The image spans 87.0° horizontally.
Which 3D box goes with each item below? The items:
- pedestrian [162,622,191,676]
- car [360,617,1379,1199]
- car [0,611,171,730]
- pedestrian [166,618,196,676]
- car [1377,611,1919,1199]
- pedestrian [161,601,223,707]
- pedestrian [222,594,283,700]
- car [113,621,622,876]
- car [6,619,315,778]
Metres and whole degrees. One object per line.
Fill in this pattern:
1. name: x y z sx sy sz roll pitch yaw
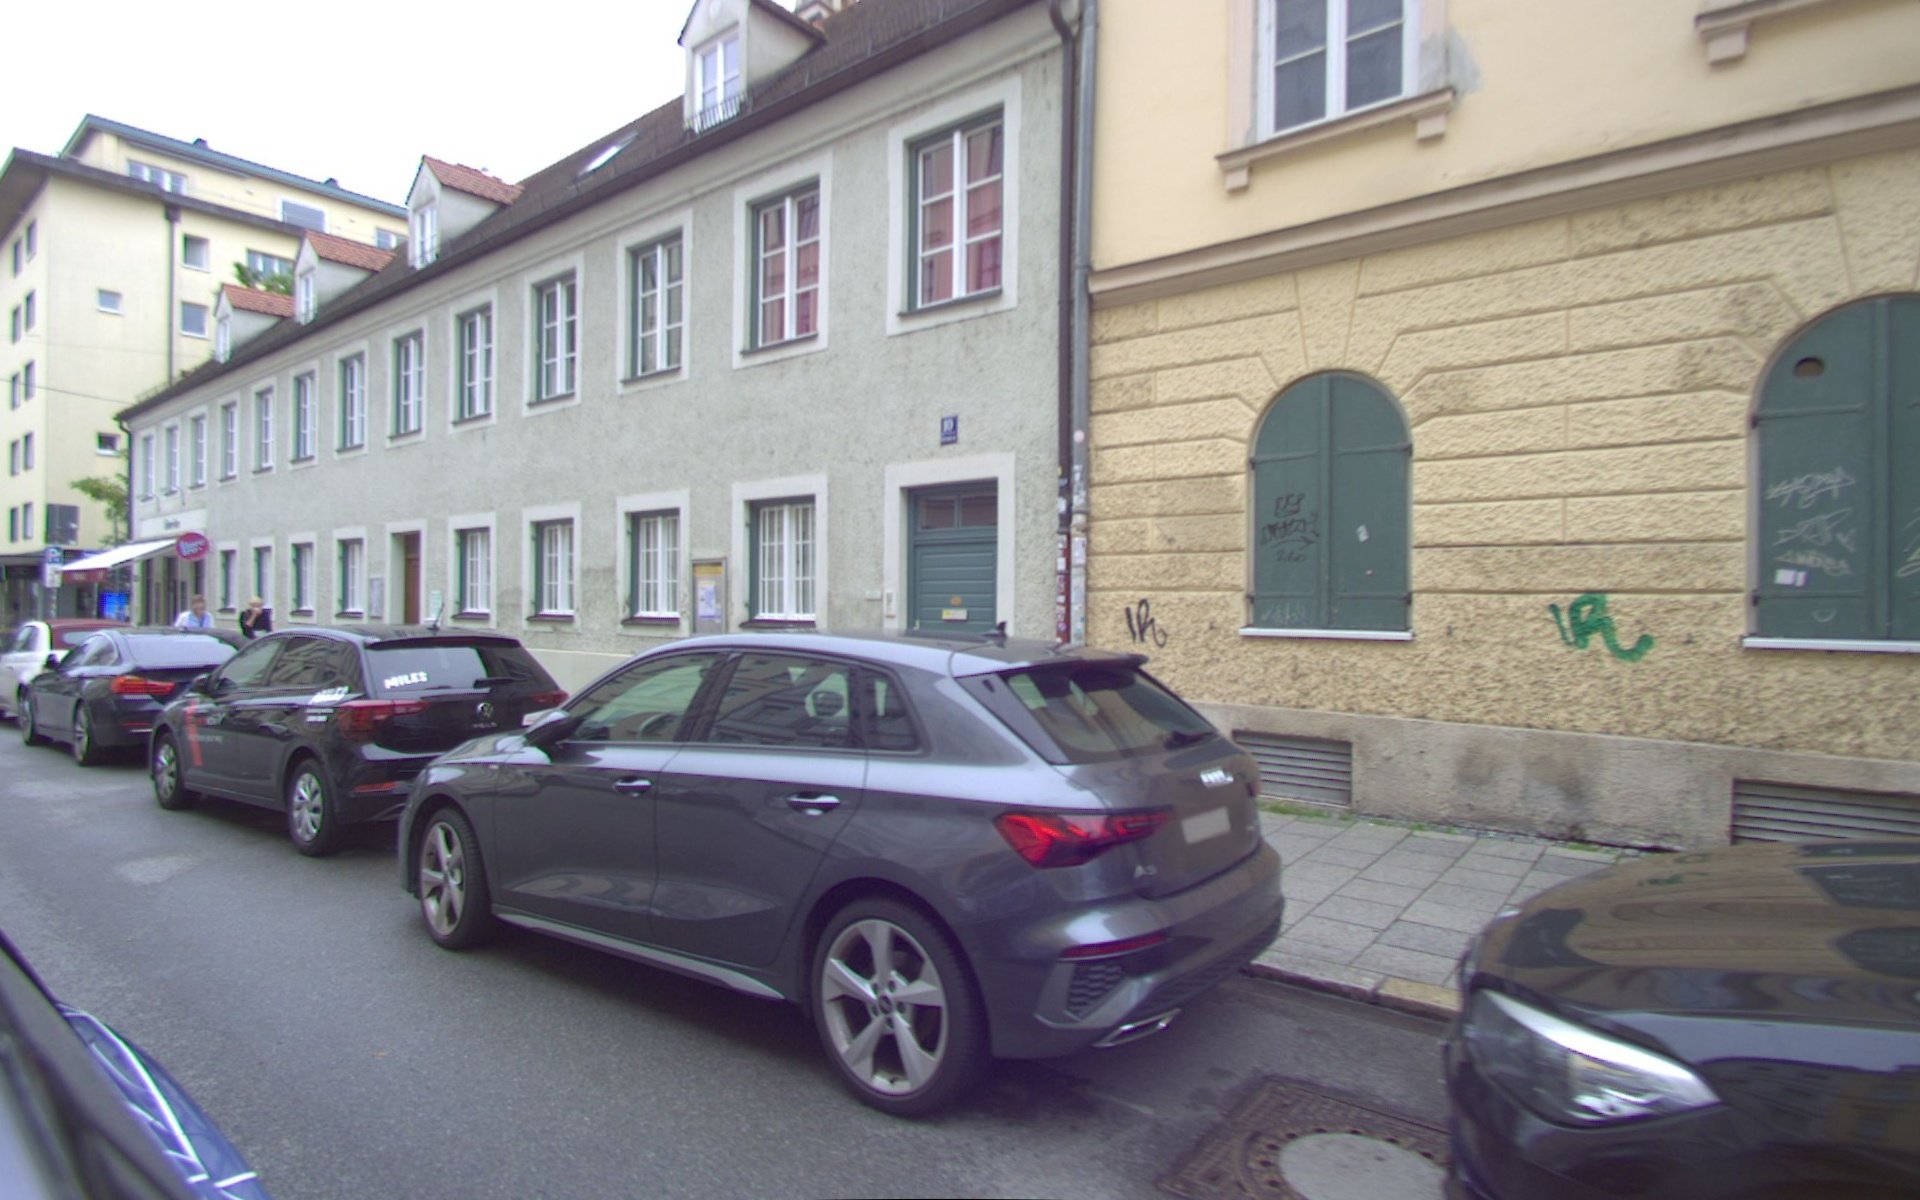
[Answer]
1. pedestrian: -18.350 1.140 23.701 0.501 1.222 0.596 -1 -2 -36
2. car: -0.661 0.792 4.375 4.261 1.412 1.840 -1 0 37
3. car: -13.023 0.934 14.751 3.417 1.526 1.555 -1 0 37
4. pedestrian: -17.737 1.064 23.053 0.515 1.276 0.548 -1 -2 -36
5. car: 2.952 0.723 1.145 4.263 1.412 1.840 -1 0 38
6. pedestrian: -12.105 0.835 15.953 0.661 1.610 0.607 -1 -1 36
7. pedestrian: -11.726 0.769 16.772 0.805 1.711 0.575 -1 -1 36
8. car: -4.686 0.886 7.787 4.261 1.412 1.841 -1 0 36
9. car: -9.049 0.941 11.333 4.265 1.412 1.839 -1 0 39
